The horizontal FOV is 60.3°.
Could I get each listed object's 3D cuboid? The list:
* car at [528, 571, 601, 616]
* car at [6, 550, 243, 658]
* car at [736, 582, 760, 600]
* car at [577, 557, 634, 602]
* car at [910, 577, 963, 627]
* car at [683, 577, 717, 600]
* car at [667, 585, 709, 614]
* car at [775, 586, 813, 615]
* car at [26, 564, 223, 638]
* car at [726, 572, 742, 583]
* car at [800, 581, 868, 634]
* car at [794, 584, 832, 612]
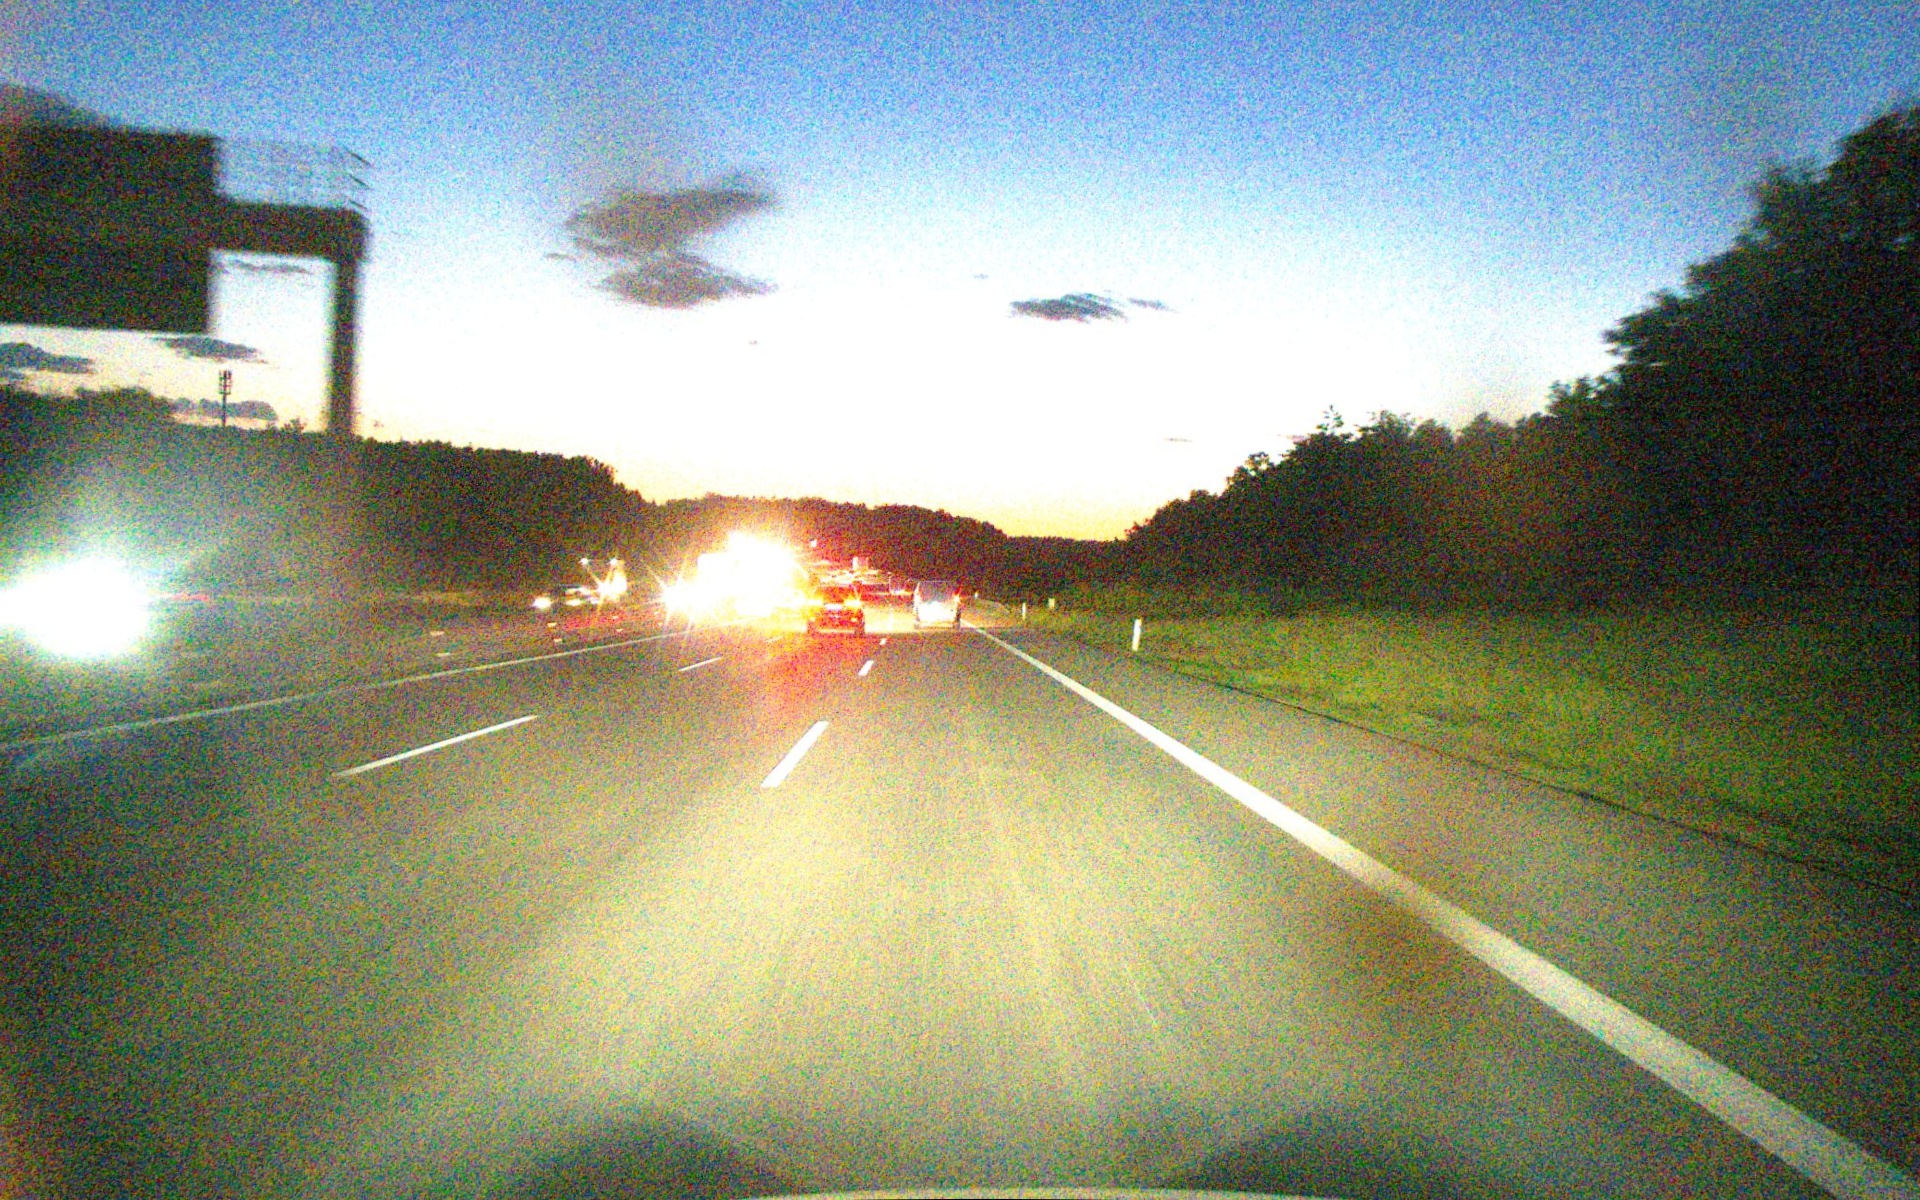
[{"bbox_3d":[-16.603,-0.279,69.649,1.953,1.764,4.658,1,0,-1],"label":"car"},{"bbox_3d":[-14.977,0.055,29.974,1.953,1.764,4.658,1,0,-1],"label":"car"},{"bbox_3d":[-21.753,-0.913,169.661,1.953,1.764,4.657,1,0,-2],"label":"car"},{"bbox_3d":[-24.896,-1.445,116.568,2.408,2.987,8.330,1,0,-2],"label":"car"},{"bbox_3d":[-1.009,0.062,70.218,2.152,1.989,4.762,0,1,-2],"label":"car"},{"bbox_3d":[-22.460,-0.988,142.978,2.101,1.918,5.424,1,0,0],"label":"car"},{"bbox_3d":[-17.299,-0.019,105.408,1.953,1.764,4.658,1,0,-1],"label":"car"},{"bbox_3d":[-8.639,0.011,86.310,1.518,1.456,5.513,1,0,-1],"label":"car"},{"bbox_3d":[-19.139,0.012,38.194,1.953,1.535,5.184,1,0,-1],"label":"car"},{"bbox_3d":[-32.907,-3.301,241.146,1.738,1.454,4.657,1,0,-2],"label":"car"},{"bbox_3d":[-4.324,0.244,57.515,1.953,1.751,5.941,0,0,0],"label":"car"},{"bbox_3d":[-9.379,-0.151,105.724,1.743,1.512,5.255,4,1,1],"label":"car"}]
